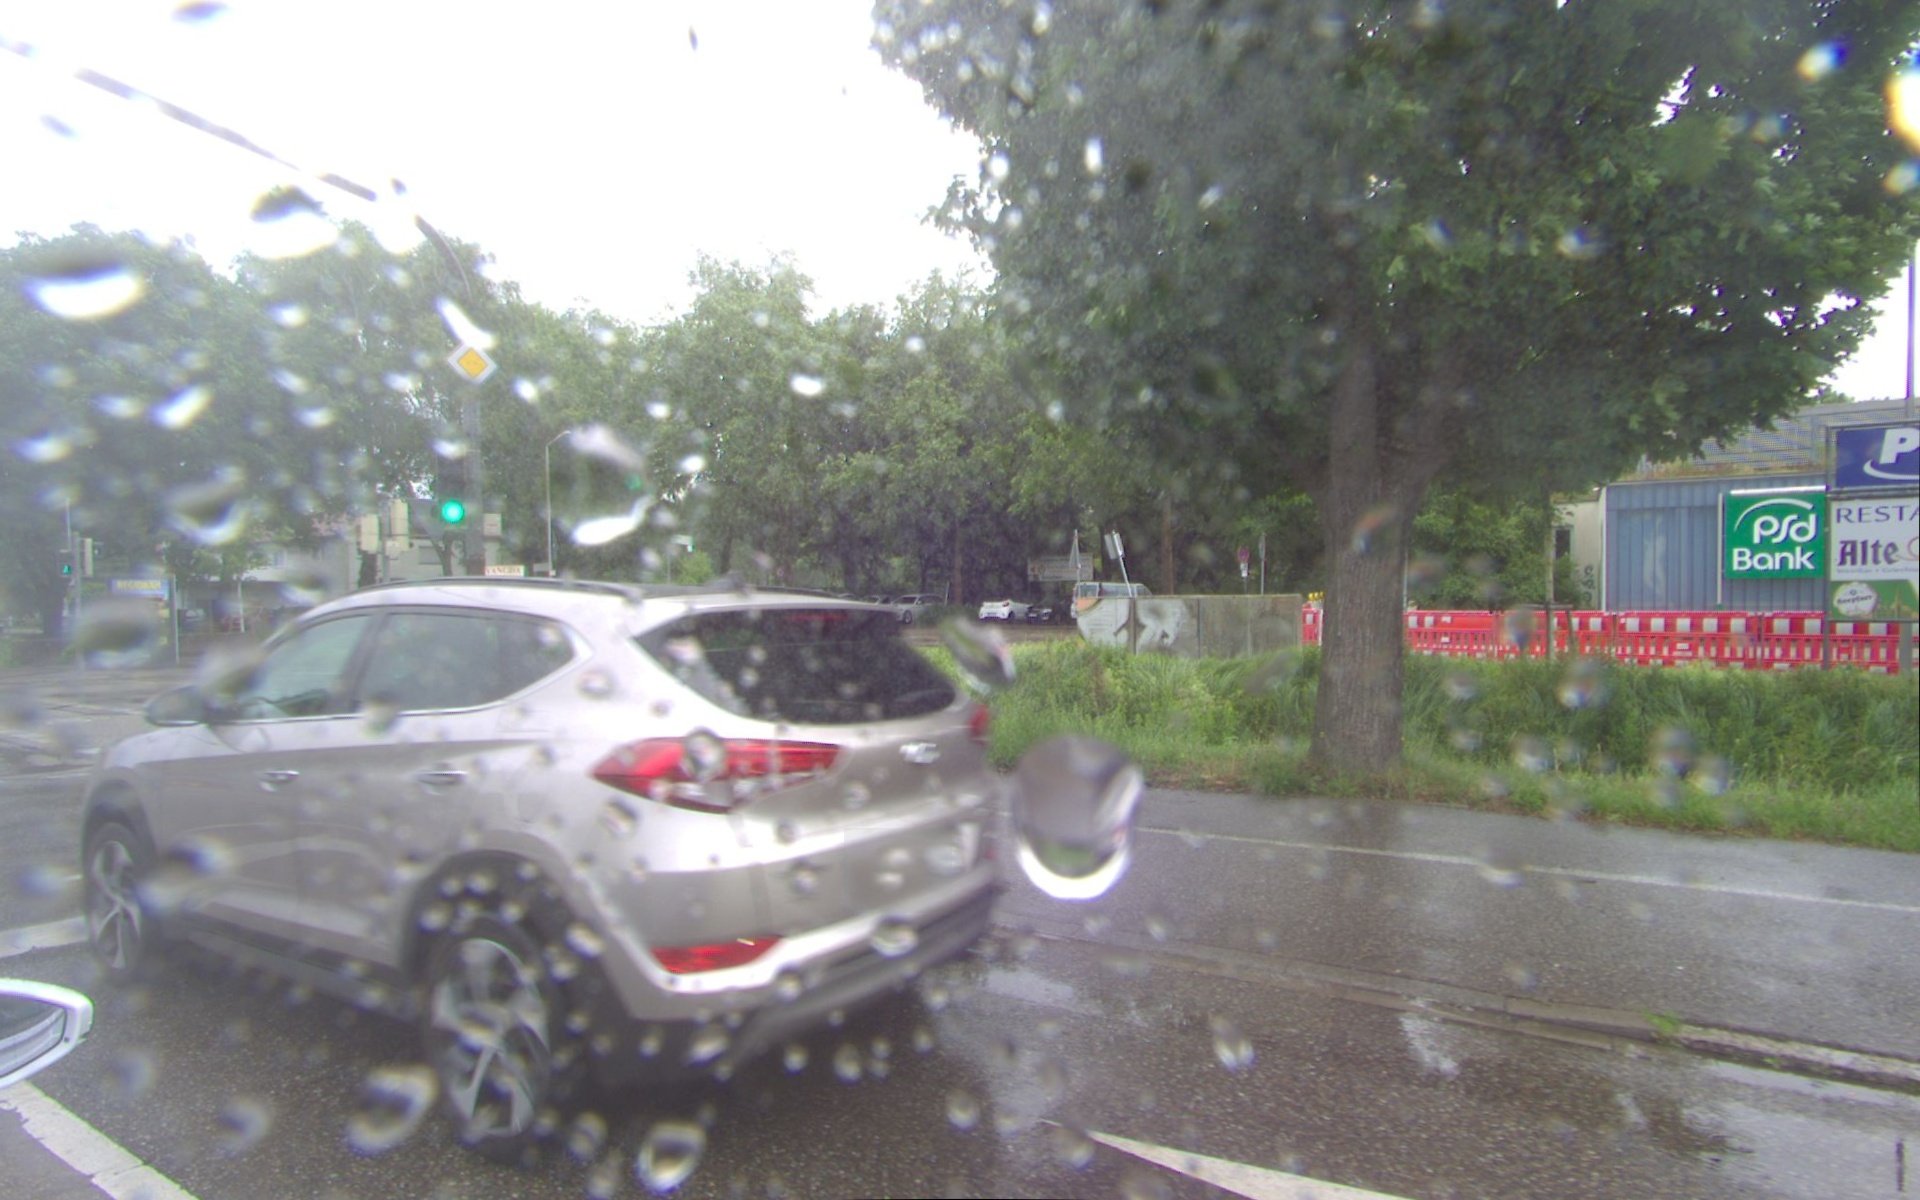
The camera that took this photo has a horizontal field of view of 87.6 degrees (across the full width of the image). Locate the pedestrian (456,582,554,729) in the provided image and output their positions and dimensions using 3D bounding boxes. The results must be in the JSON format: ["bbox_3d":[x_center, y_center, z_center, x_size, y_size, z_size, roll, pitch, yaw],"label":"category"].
[{"bbox_3d":[-5.537,0.657,12.222,0.774,1.702,0.668,-3,4,-2],"label":"pedestrian"}]

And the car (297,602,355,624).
[{"bbox_3d":[-42.194,0.875,66.638,3.940,1.403,1.582,-1,-2,29],"label":"car"}]

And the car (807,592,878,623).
[{"bbox_3d":[-6.475,0.469,55.826,1.894,1.604,4.590,-1,-2,23],"label":"car"}]

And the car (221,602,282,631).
[{"bbox_3d":[-37.422,0.911,52.969,1.641,1.467,3.744,0,-2,-19],"label":"car"}]

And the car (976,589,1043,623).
[{"bbox_3d":[2.493,0.335,49.744,1.697,1.617,3.649,-1,-2,34],"label":"car"}]

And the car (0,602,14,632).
[{"bbox_3d":[-58.155,1.028,59.137,4.805,1.740,1.990,-1,1,30],"label":"car"}]

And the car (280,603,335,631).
[{"bbox_3d":[-35.292,0.945,54.230,1.641,1.467,3.744,0,-2,-19],"label":"car"}]

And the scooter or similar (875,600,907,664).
[{"bbox_3d":[-1.303,0.594,18.874,0.553,1.192,0.284,0,1,39],"label":"scooter or similar"}]

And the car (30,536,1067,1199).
[{"bbox_3d":[-1.841,0.729,4.136,4.135,1.631,1.881,-2,-1,31],"label":"car"}]

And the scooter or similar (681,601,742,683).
[{"bbox_3d":[-3.929,0.643,15.871,0.317,1.246,0.954,0,1,36],"label":"scooter or similar"}]

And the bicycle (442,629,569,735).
[{"bbox_3d":[-5.527,0.968,12.310,0.774,1.053,1.663,-3,3,-2],"label":"bicycle"}]

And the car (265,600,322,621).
[{"bbox_3d":[-43.099,0.692,64.740,3.646,1.333,1.571,-1,-1,29],"label":"car"}]

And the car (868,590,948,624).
[{"bbox_3d":[-2.649,0.425,52.215,1.898,1.651,4.579,-1,-2,31],"label":"car"}]

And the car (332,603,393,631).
[{"bbox_3d":[-32.484,0.949,54.569,1.638,1.467,3.751,0,-2,-11],"label":"car"}]

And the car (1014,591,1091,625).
[{"bbox_3d":[4.479,0.422,47.805,1.900,1.508,4.171,-1,-2,34],"label":"car"}]

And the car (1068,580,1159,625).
[{"bbox_3d":[7.177,0.173,46.680,4.145,1.990,1.912,1,-2,-37],"label":"car"}]

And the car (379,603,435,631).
[{"bbox_3d":[-30.410,0.963,55.183,1.573,1.467,3.751,0,-2,-11],"label":"car"}]

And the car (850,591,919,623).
[{"bbox_3d":[-4.056,0.423,54.566,1.894,1.604,4.590,-1,-2,23],"label":"car"}]
